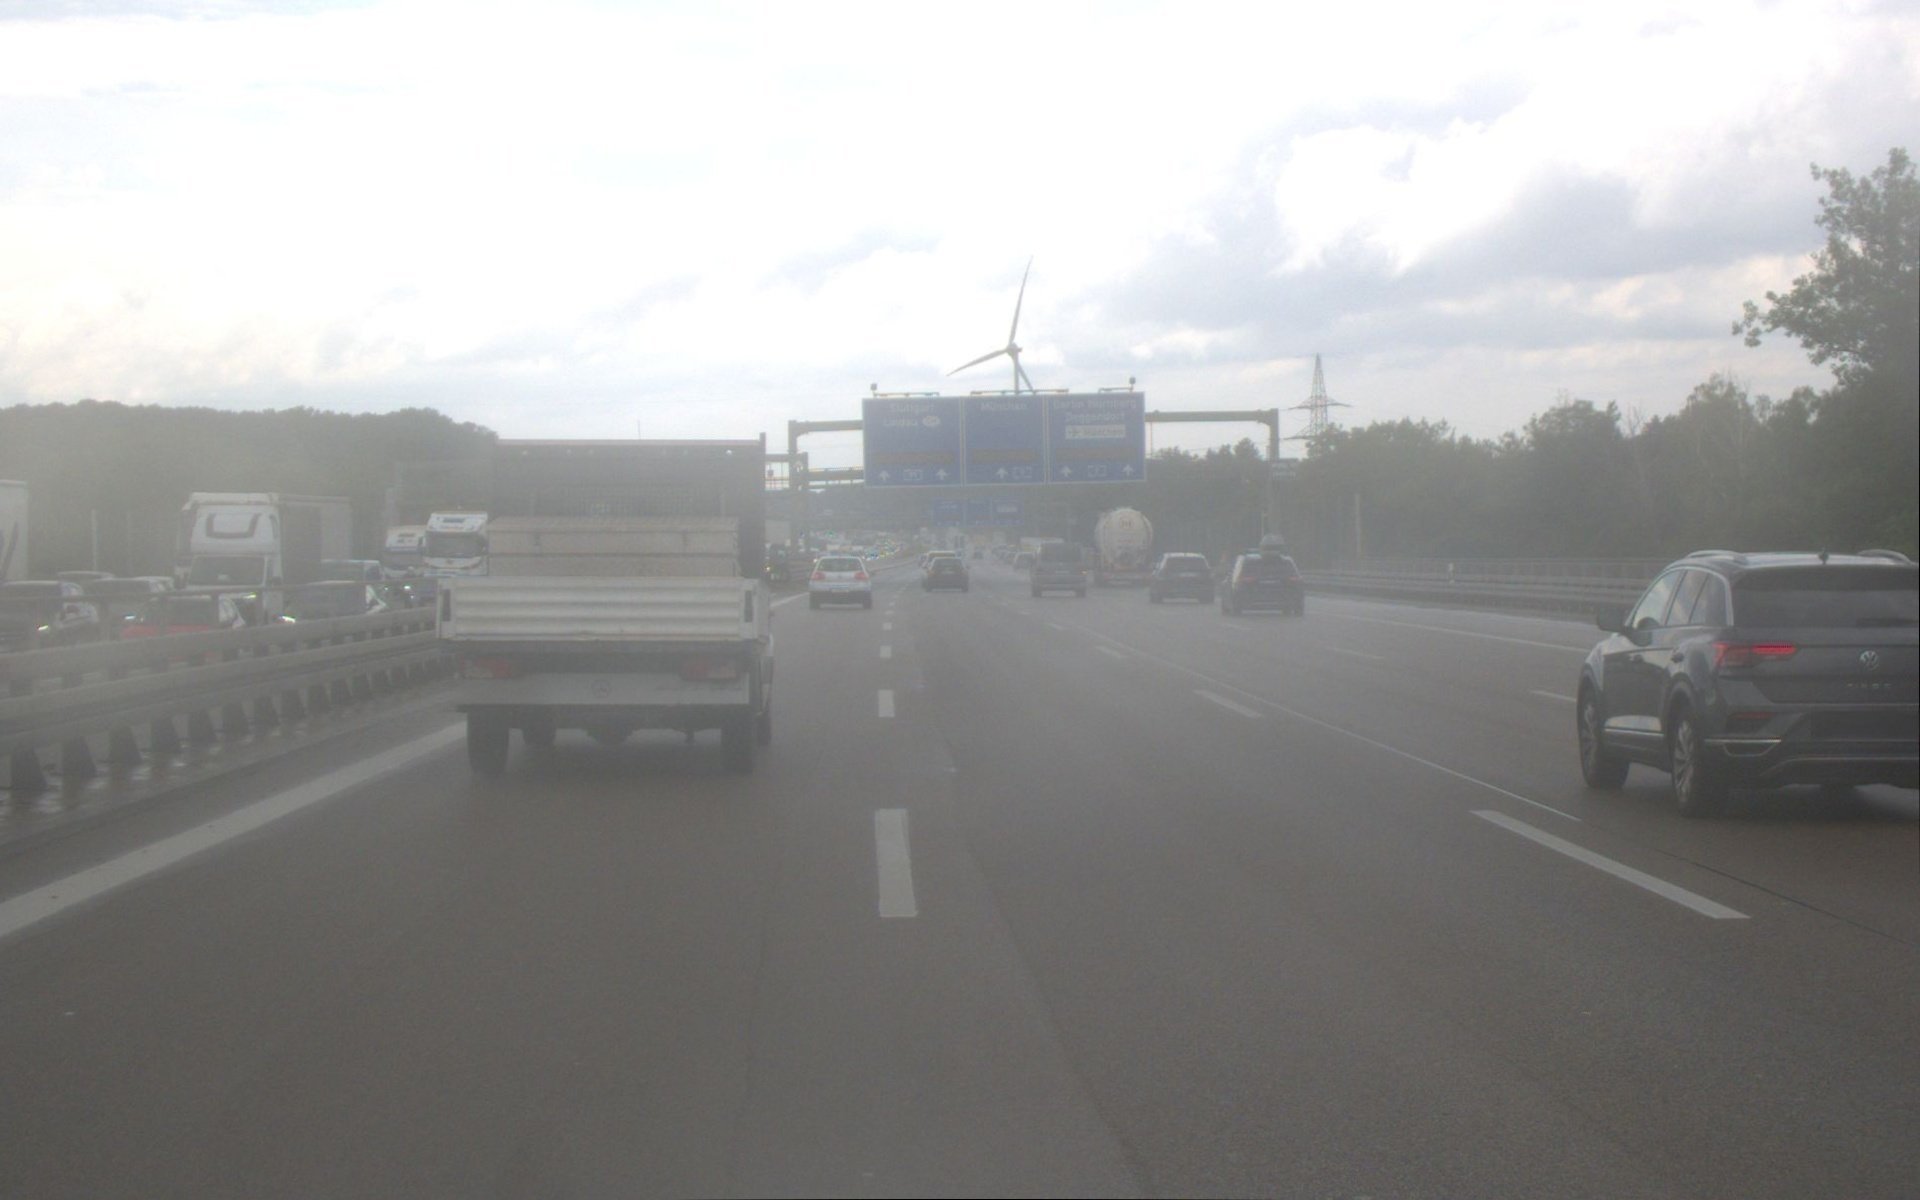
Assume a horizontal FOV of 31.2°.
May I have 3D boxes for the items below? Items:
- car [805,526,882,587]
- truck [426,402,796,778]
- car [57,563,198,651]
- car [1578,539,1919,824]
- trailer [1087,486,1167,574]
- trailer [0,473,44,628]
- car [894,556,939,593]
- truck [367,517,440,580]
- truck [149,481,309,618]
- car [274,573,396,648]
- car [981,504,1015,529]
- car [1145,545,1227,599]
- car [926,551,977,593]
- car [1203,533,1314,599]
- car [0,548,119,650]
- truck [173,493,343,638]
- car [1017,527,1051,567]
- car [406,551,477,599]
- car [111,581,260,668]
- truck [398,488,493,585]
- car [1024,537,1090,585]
[{"bbox_3d":[-3.285,-1.239,97.616,2.045,1.693,4.000,0,1,0],"label":"car"},{"bbox_3d":[-2.455,-0.135,25.783,2.352,2.400,7.359,0,1,-3],"label":"truck"},{"bbox_3d":[-17.281,0.116,71.585,1.719,1.694,5.055,-1,1,0],"label":"car"},{"bbox_3d":[4.991,0.424,20.693,1.792,1.557,3.722,0,1,-1],"label":"car"},{"bbox_3d":[8.178,-3.422,169.532,3.333,4.161,11.838,0,1,0],"label":"trailer"},{"bbox_3d":[-26.063,-1.281,87.487,3.219,3.946,8.851,0,1,-1],"label":"trailer"},{"bbox_3d":[-2.061,-1.232,162.417,1.972,1.693,4.001,0,1,-3],"label":"car"},{"bbox_3d":[-27.093,-2.508,167.525,2.517,2.976,7.022,-1,1,-1],"label":"truck"},{"bbox_3d":[-21.747,-1.500,102.709,3.199,3.920,7.574,0,1,-1],"label":"truck"},{"bbox_3d":[-13.797,0.203,76.163,1.719,1.497,5.503,-1,1,0],"label":"car"},{"bbox_3d":[2.320,-5.151,212.109,1.812,1.441,4.001,-1,1,-3],"label":"car"},{"bbox_3d":[7.279,-0.920,111.272,2.045,1.693,5.008,0,1,-3],"label":"car"},{"bbox_3d":[-0.355,-1.169,143.803,2.045,1.693,4.000,0,1,-1],"label":"car"},{"bbox_3d":[7.513,-0.889,87.042,2.104,1.600,5.066,0,1,-3],"label":"car"},{"bbox_3d":[-16.657,-0.050,62.028,1.719,1.722,5.105,-1,1,0],"label":"car"},{"bbox_3d":[-17.488,-0.904,86.132,2.519,3.387,8.541,-1,1,0],"label":"truck"},{"bbox_3d":[4.648,-3.334,216.157,2.045,2.489,4.000,0,1,0],"label":"car"},{"bbox_3d":[-18.386,-0.907,122.002,1.821,1.618,4.698,-1,1,-1],"label":"car"},{"bbox_3d":[-13.166,0.385,58.657,1.573,1.349,4.384,-1,1,0],"label":"car"},{"bbox_3d":[-22.817,-2.845,152.822,3.177,4.179,7.738,-1,1,-1],"label":"truck"},{"bbox_3d":[3.538,-1.446,126.027,2.097,1.693,4.001,0,1,-3],"label":"car"}]
